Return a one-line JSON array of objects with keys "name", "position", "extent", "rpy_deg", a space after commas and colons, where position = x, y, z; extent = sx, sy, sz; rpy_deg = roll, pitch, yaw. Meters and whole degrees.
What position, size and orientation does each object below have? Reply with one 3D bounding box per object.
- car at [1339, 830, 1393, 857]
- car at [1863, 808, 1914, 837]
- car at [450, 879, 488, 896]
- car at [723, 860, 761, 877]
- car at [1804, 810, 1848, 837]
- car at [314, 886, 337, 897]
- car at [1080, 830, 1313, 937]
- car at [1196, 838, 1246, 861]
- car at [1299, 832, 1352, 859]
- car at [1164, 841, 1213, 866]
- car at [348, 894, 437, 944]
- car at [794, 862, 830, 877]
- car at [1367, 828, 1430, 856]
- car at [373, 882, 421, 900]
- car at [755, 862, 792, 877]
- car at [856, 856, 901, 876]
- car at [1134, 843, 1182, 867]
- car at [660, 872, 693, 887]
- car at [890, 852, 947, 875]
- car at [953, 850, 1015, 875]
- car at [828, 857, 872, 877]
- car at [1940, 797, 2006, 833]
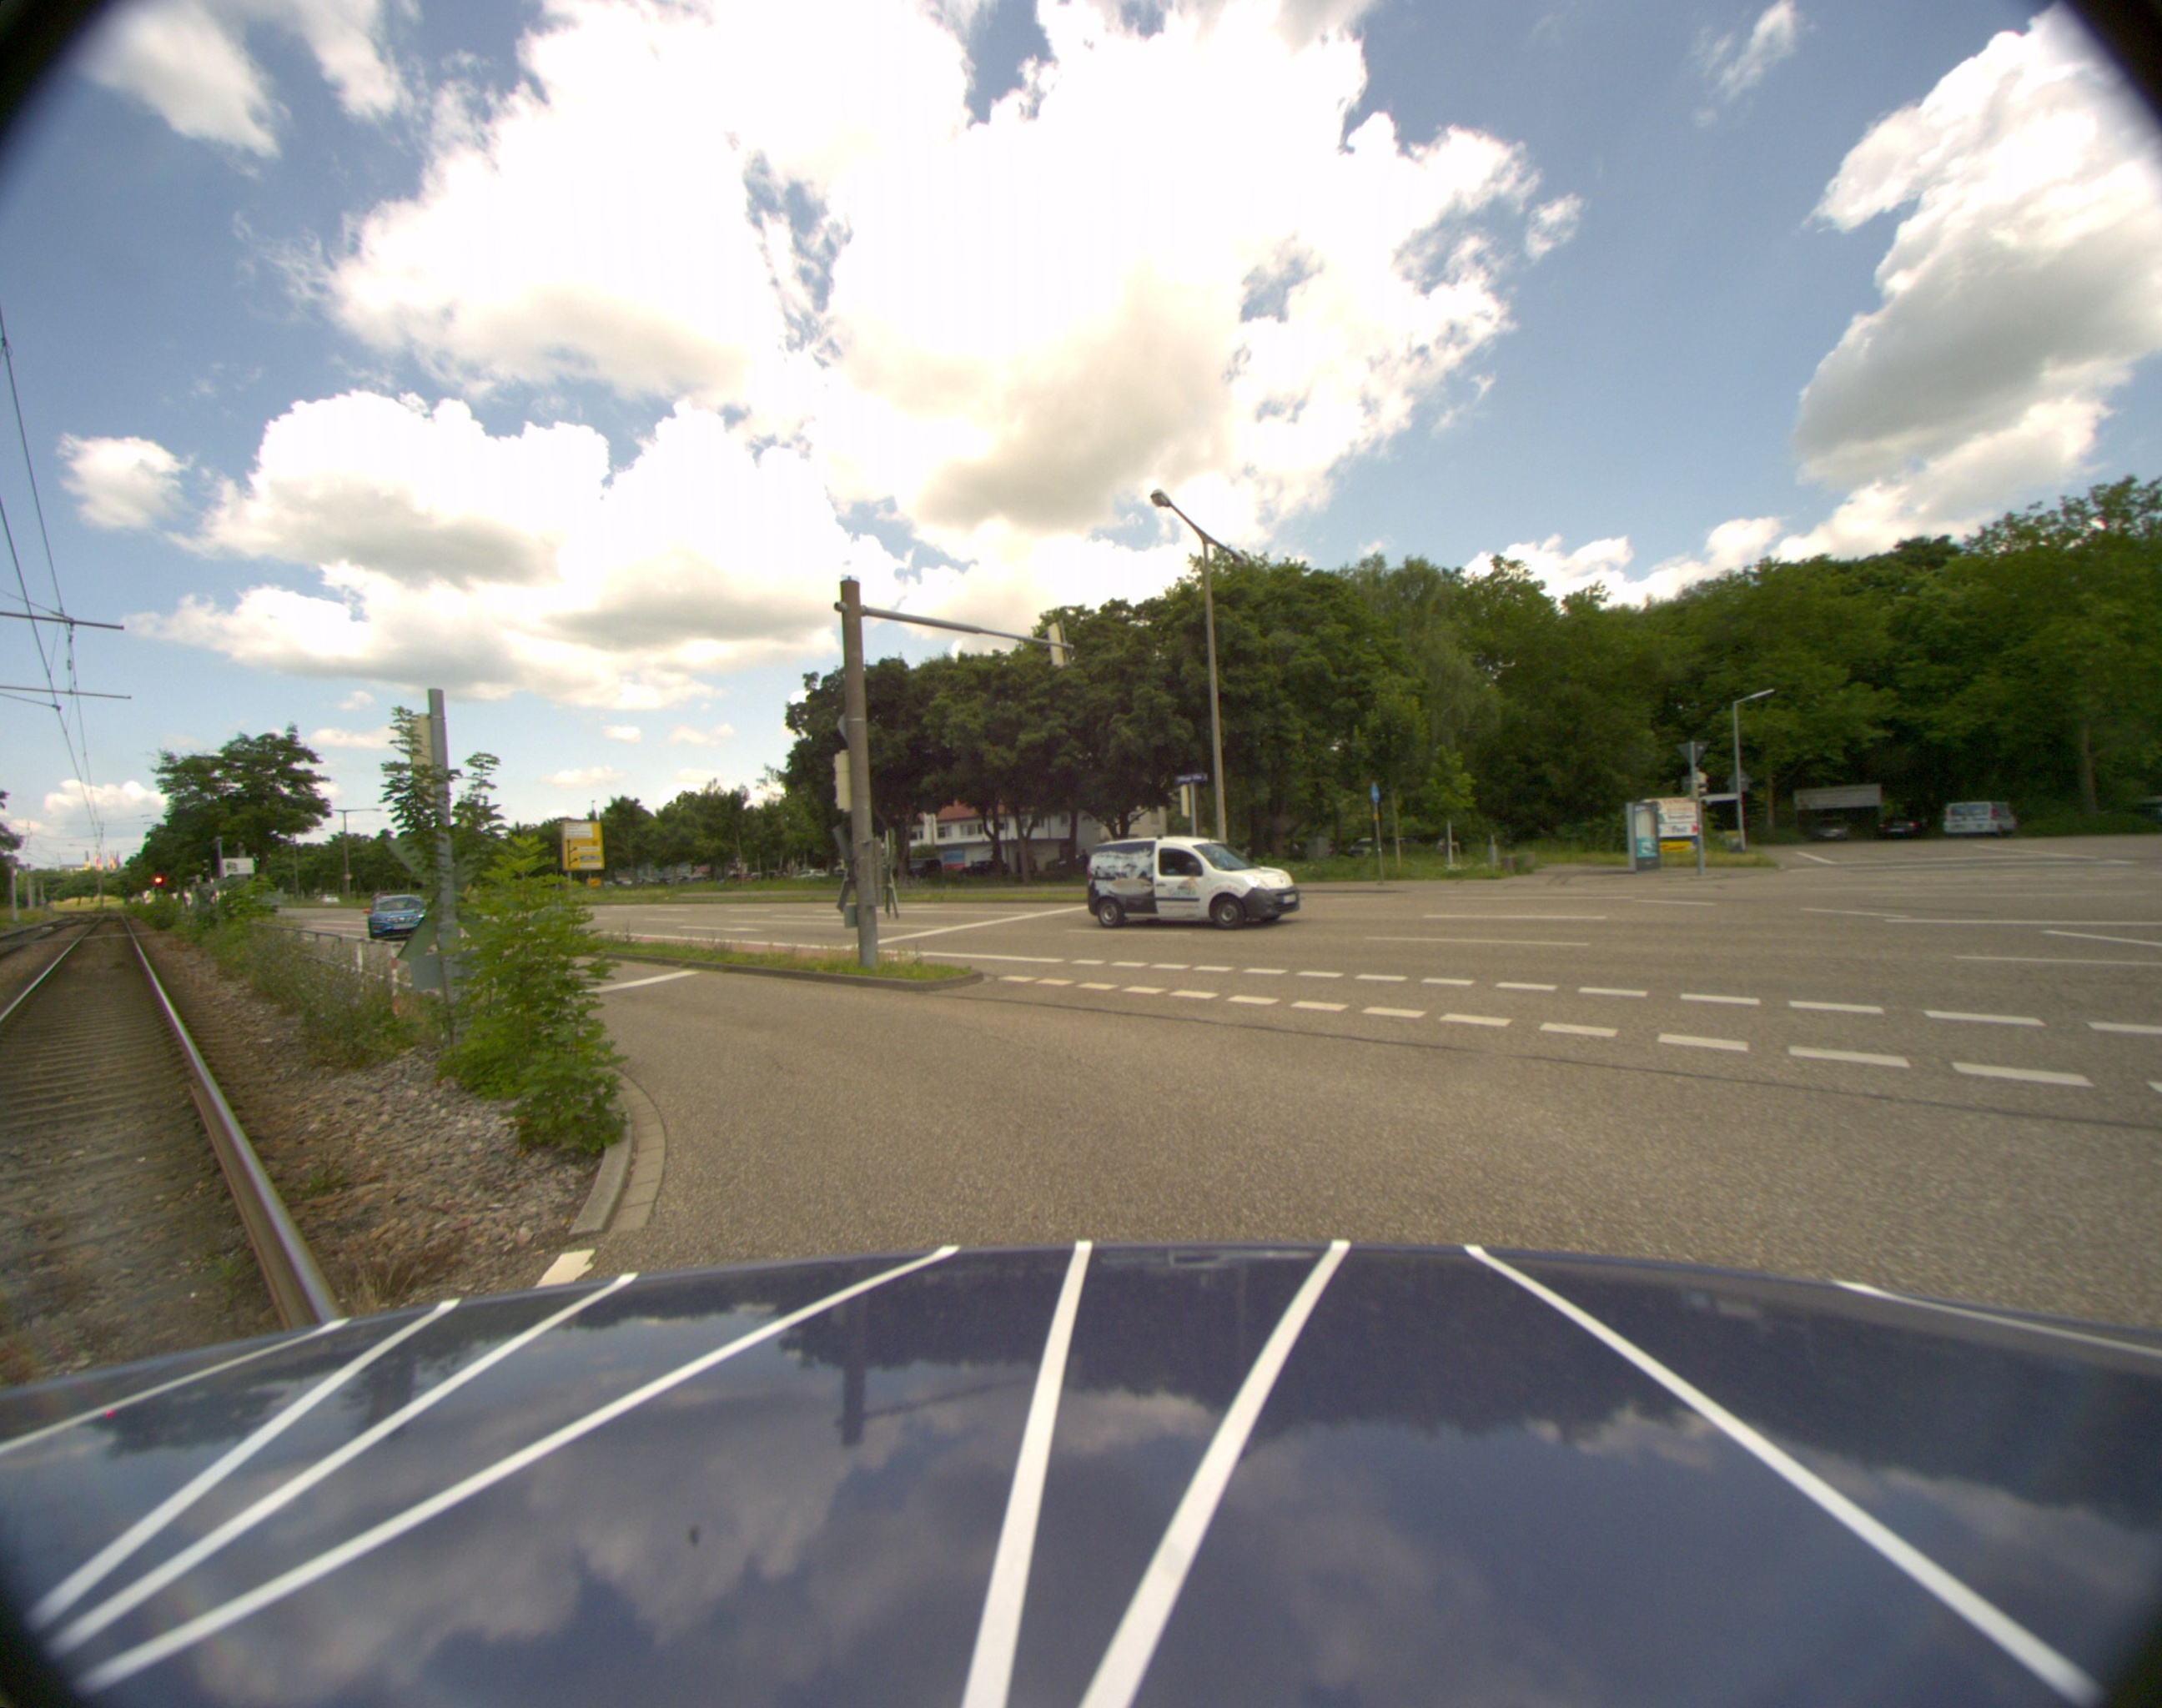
[{"name": "car", "position": [20.057, -0.756, 53.336], "extent": [4.135, 1.700, 1.814], "rpy_deg": [-3, 1, -43]}, {"name": "car", "position": [47.583, -1.879, 44.848], "extent": [1.615, 1.499, 3.626], "rpy_deg": [-2, 2, 40]}, {"name": "car", "position": [-60.307, 3.302, 74.850], "extent": [4.484, 1.423, 1.809], "rpy_deg": [-3, 1, 37]}, {"name": "car", "position": [-35.806, 1.497, 80.138], "extent": [4.012, 1.578, 2.004], "rpy_deg": [-3, 0, 39]}, {"name": "car", "position": [45.597, -1.871, 46.560], "extent": [1.615, 1.499, 3.626], "rpy_deg": [-2, 2, 40]}, {"name": "car", "position": [-106.303, 5.297, 106.899], "extent": [3.584, 1.437, 1.619], "rpy_deg": [-2, 2, 36]}, {"name": "car", "position": [2.170, 0.554, 14.930], "extent": [4.145, 1.775, 1.751], "rpy_deg": [-2, 2, 40]}, {"name": "car", "position": [10.177, -0.295, 55.618], "extent": [2.001, 1.536, 4.018], "rpy_deg": [-3, 0, -15]}, {"name": "car", "position": [17.675, -0.650, 54.867], "extent": [4.135, 1.718, 1.814], "rpy_deg": [-3, 1, -43]}, {"name": "car", "position": [7.740, -0.032, 55.075], "extent": [2.001, 1.578, 4.019], "rpy_deg": [-3, -1, -15]}, {"name": "car", "position": [-23.008, 2.120, 25.361], "extent": [3.693, 1.455, 1.608], "rpy_deg": [-3, 0, 39]}, {"name": "car", "position": [-25.544, 1.478, 72.082], "extent": [3.467, 1.324, 1.630], "rpy_deg": [-3, 0, 39]}, {"name": "car", "position": [21.605, -0.838, 51.612], "extent": [4.586, 1.715, 2.041], "rpy_deg": [-3, 0, -40]}, {"name": "car", "position": [-84.601, 4.550, 94.045], "extent": [1.995, 2.002, 4.007], "rpy_deg": [-3, 1, 36]}, {"name": "car", "position": [-30.837, 1.557, 76.167], "extent": [3.855, 1.403, 1.734], "rpy_deg": [-3, 0, 39]}, {"name": "car", "position": [-17.623, 1.028, 66.202], "extent": [3.656, 1.578, 1.926], "rpy_deg": [-3, 0, 39]}, {"name": "car", "position": [5.443, 0.080, 54.271], "extent": [2.001, 1.578, 4.018], "rpy_deg": [-3, 0, -15]}, {"name": "car", "position": [-48.490, 3.065, 91.099], "extent": [4.012, 1.578, 2.004], "rpy_deg": [-3, 0, 39]}, {"name": "car", "position": [-13.426, 0.794, 62.562], "extent": [4.916, 1.701, 1.892], "rpy_deg": [-3, 0, 39]}, {"name": "car", "position": [-7.507, 0.685, 58.822], "extent": [4.353, 1.648, 1.815], "rpy_deg": [-3, 2, 28]}, {"name": "car", "position": [-20.933, 1.195, 68.748], "extent": [4.012, 1.578, 1.767], "rpy_deg": [-3, 0, 39]}, {"name": "car", "position": [49.505, -2.186, 42.176], "extent": [3.625, 1.783, 1.932], "rpy_deg": [-5, 2, -34]}]
